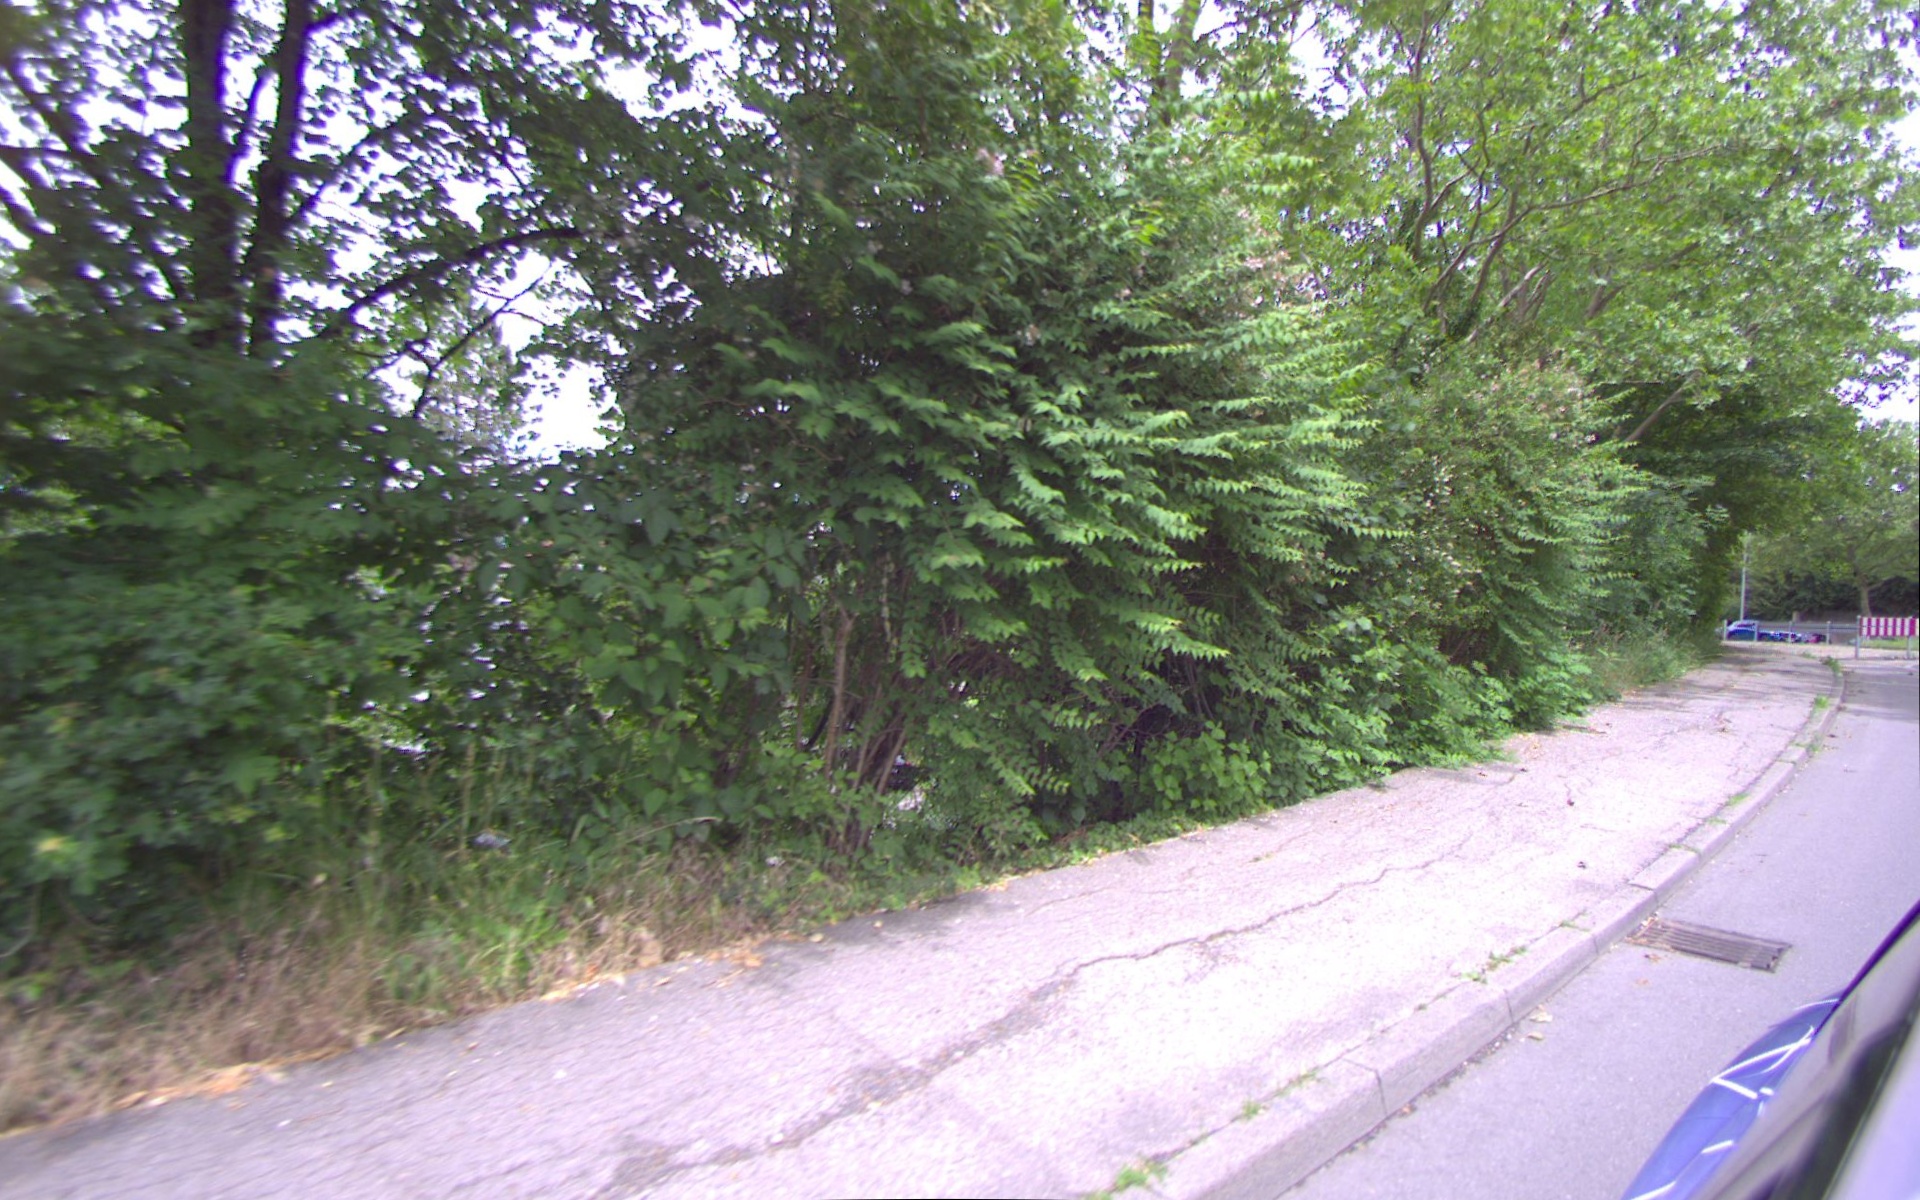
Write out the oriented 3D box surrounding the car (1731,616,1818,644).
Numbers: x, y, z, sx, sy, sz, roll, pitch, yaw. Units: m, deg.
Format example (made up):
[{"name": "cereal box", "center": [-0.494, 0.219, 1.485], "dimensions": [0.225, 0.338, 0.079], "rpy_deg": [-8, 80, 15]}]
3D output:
[{"name": "car", "center": [49.336, 1.794, 61.407], "dimensions": [1.764, 1.447, 4.147], "rpy_deg": [5, -1, 0]}]
